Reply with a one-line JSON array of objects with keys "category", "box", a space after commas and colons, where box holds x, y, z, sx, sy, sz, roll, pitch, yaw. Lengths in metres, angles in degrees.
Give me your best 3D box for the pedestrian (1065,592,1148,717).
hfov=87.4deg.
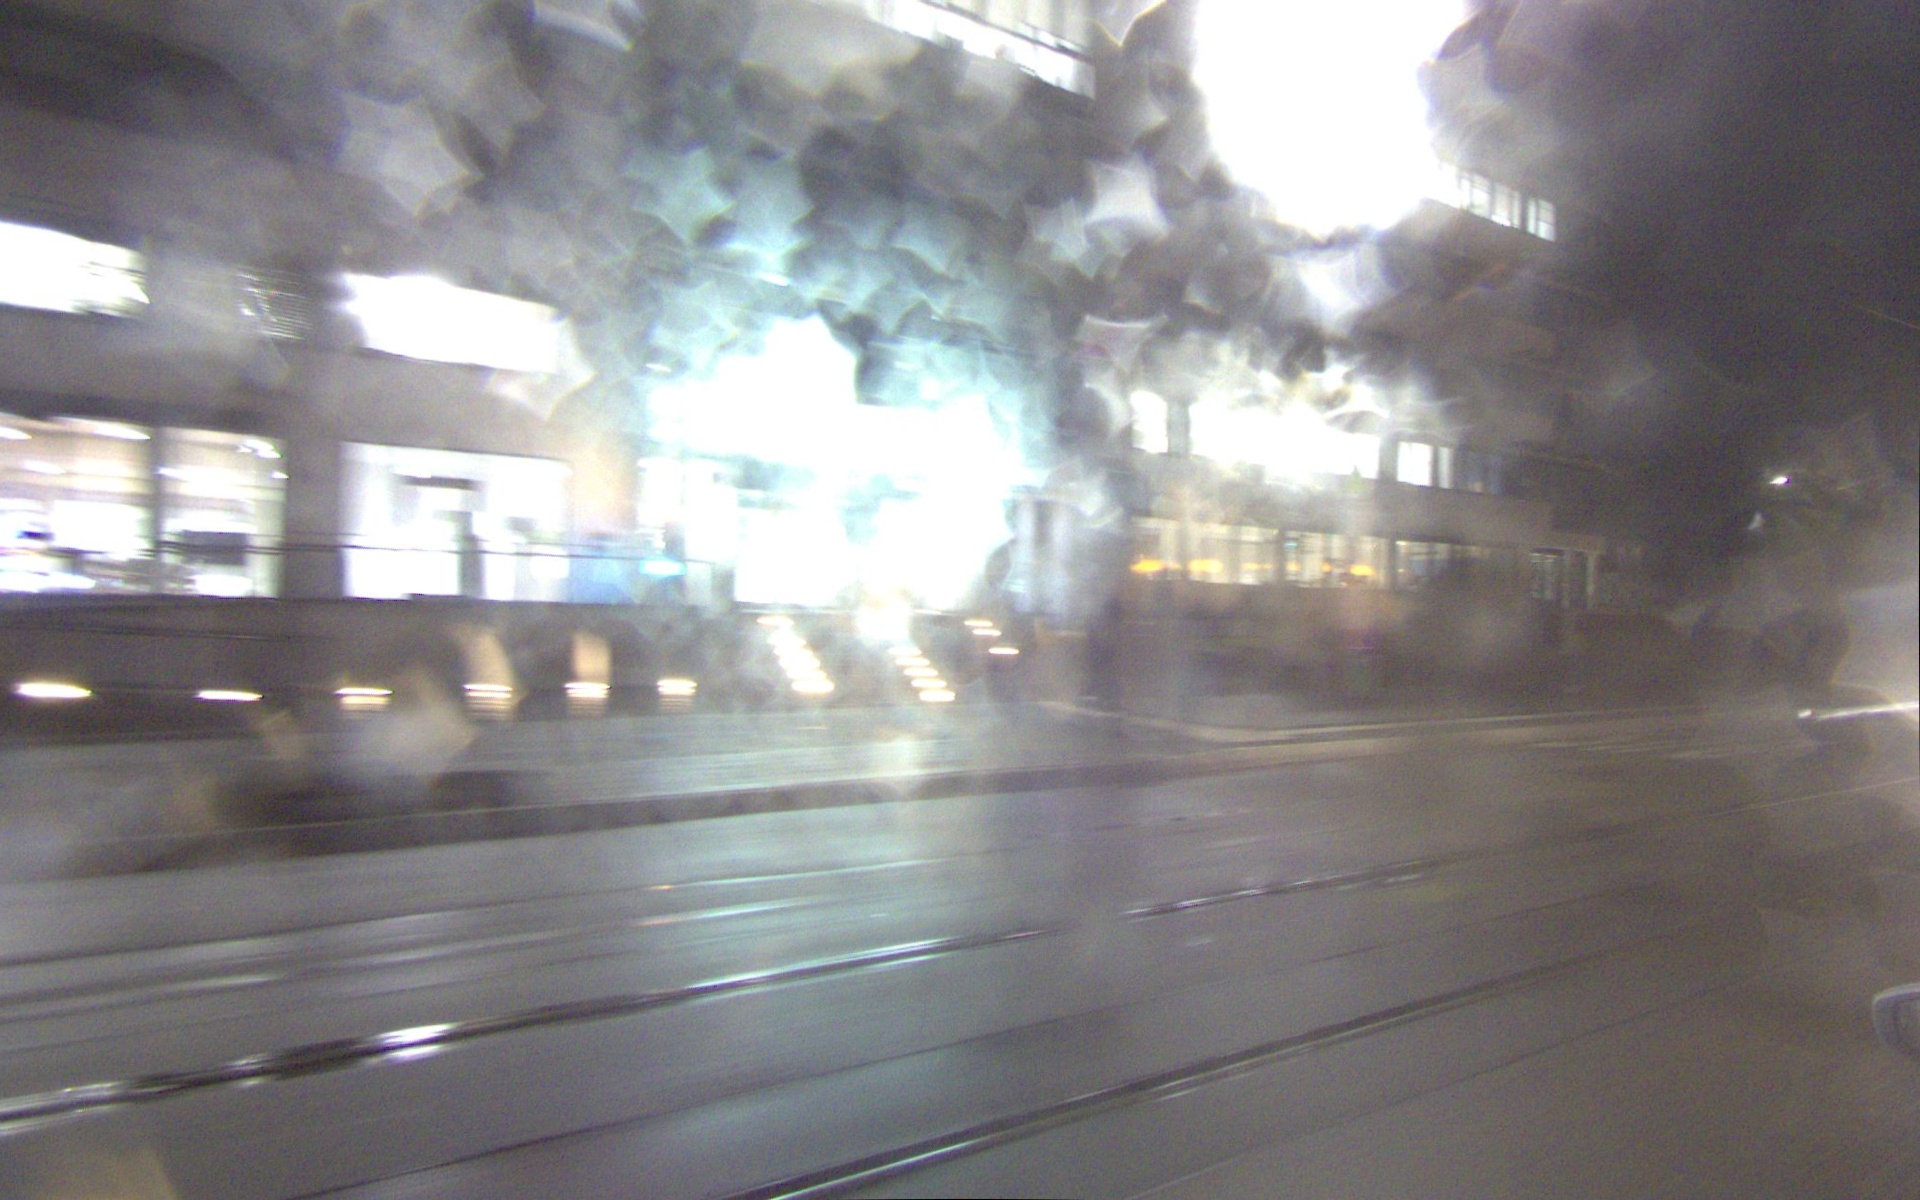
[{"category": "pedestrian", "box": [2.083, 0.753, 14.299, 0.872, 1.709, 0.782, 1, -1, -30]}]
